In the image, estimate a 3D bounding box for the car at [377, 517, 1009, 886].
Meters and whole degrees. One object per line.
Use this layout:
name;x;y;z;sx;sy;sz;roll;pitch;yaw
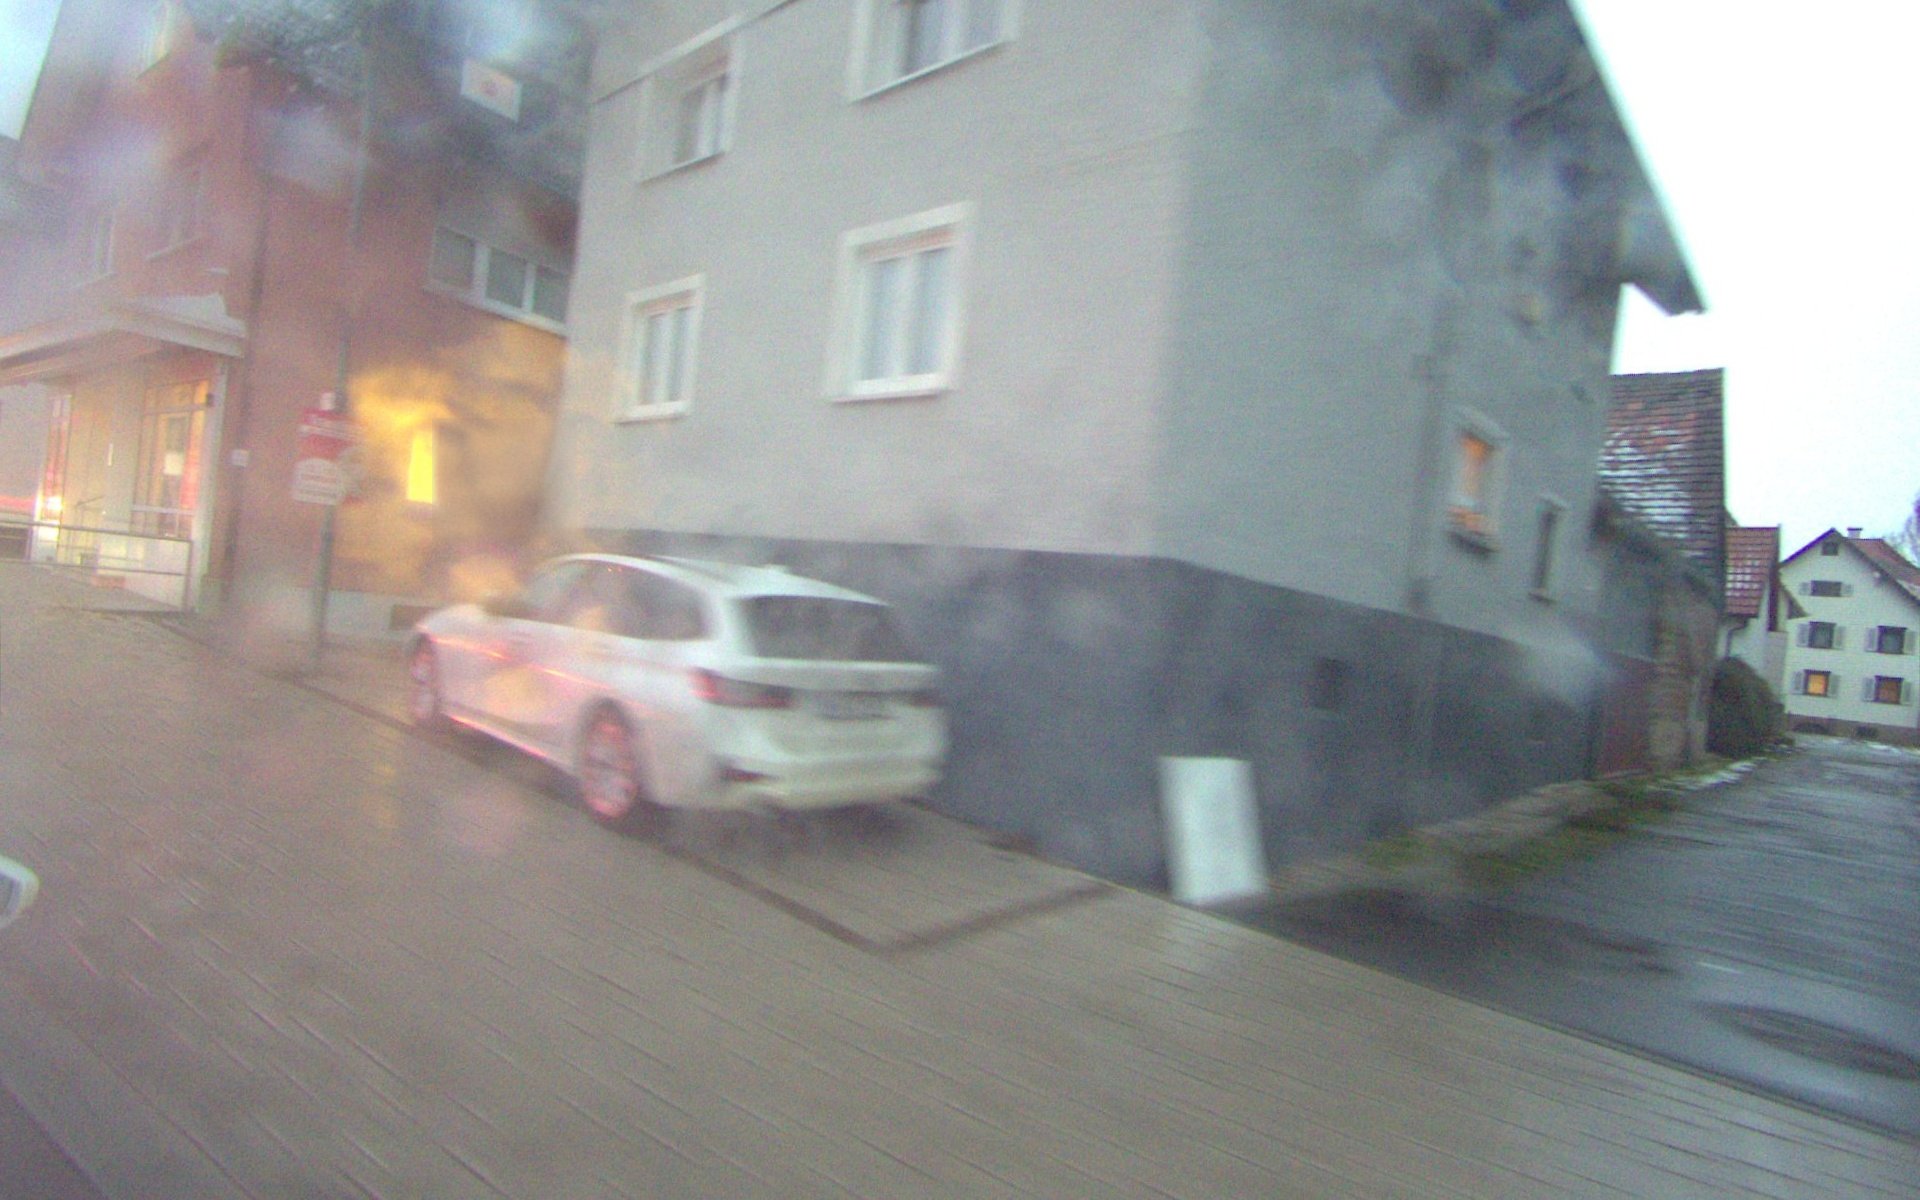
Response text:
car;-2.045;0.396;6.693;4.481;1.485;1.879;7;1;43
